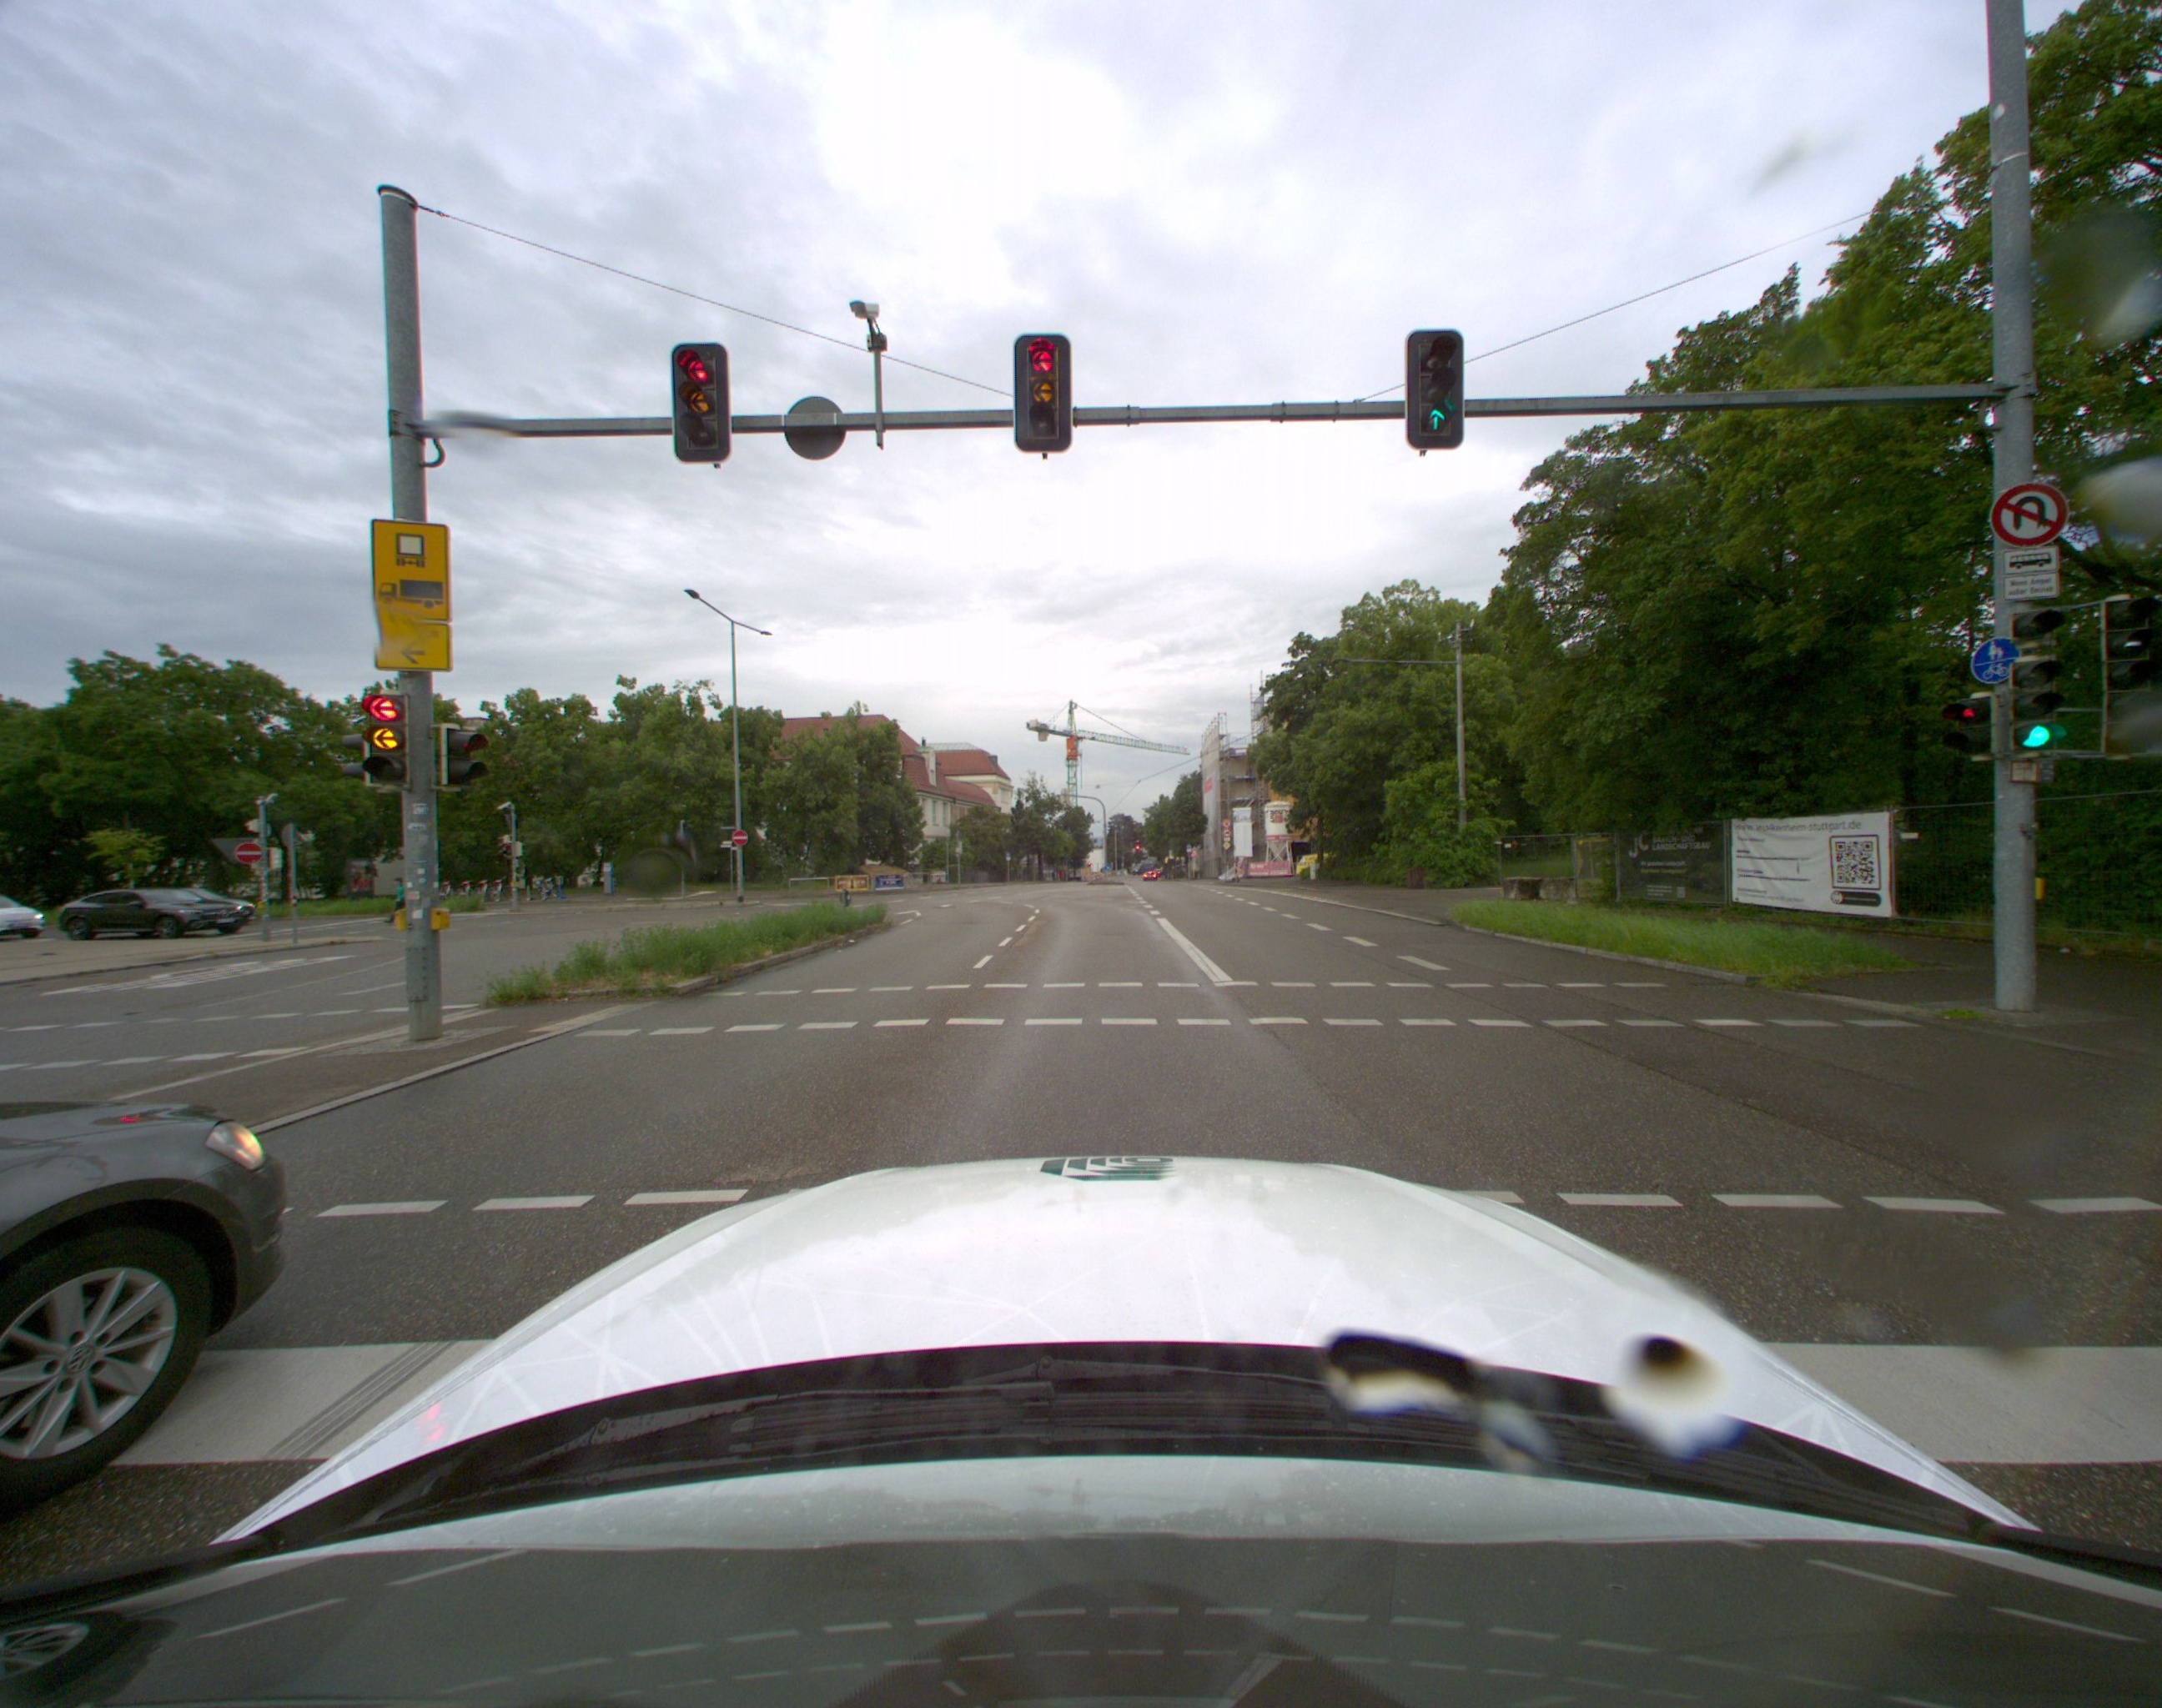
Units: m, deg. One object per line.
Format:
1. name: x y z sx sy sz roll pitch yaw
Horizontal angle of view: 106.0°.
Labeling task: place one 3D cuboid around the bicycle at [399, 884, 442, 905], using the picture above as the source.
1. bicycle: -35.965 2.180 44.369 0.649 1.071 1.982 0 -1 2

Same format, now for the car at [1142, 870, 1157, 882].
1. car: 10.500 3.318 124.921 1.986 1.750 4.001 -2 0 1

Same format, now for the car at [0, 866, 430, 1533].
1. car: -3.382 0.804 0.819 1.809 1.481 4.378 -2 0 2

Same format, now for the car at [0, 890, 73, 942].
1. car: -36.499 2.037 27.053 3.539 1.594 2.001 0 -1 1

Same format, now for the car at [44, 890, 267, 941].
1. car: -30.078 1.986 26.588 5.006 1.500 2.001 0 -1 1

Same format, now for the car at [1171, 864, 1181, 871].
1. car: 25.533 3.528 218.935 1.980 1.750 4.014 -2 0 13

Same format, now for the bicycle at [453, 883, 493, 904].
1. bicycle: -33.020 2.121 44.278 0.649 1.071 1.982 0 -1 2

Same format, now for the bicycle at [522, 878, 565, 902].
1. bicycle: -29.437 1.950 44.617 0.987 1.249 1.982 0 -1 2

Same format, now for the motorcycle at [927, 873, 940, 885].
1. motorcycle: -11.820 2.003 65.407 0.846 0.877 0.877 0 -1 1

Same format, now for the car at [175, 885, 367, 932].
1. car: -29.406 1.970 29.675 5.006 1.548 2.001 0 -1 1

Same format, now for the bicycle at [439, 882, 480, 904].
1. bicycle: -33.909 2.117 44.452 0.649 1.071 1.982 0 -1 2

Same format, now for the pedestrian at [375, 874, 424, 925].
1. pedestrian: -23.984 1.582 28.680 0.917 1.727 0.949 -1 -1 10

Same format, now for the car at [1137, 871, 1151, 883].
1. car: 10.223 3.677 131.548 1.986 1.750 4.001 -2 0 1

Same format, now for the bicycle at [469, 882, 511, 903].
1. bicycle: -32.270 2.070 44.509 0.798 1.071 1.982 0 -1 2

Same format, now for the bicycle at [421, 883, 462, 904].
1. bicycle: -34.988 2.145 44.584 0.649 1.071 1.982 0 -1 2

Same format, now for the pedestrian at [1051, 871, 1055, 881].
1. pedestrian: -4.430 3.509 129.549 0.489 1.645 0.536 -1 -1 24

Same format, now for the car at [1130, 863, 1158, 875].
1. car: 14.042 3.327 181.223 6.222 2.403 2.823 0 -1 -43

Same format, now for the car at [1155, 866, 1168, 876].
1. car: 16.452 3.506 167.282 1.979 1.750 4.016 -2 0 15
